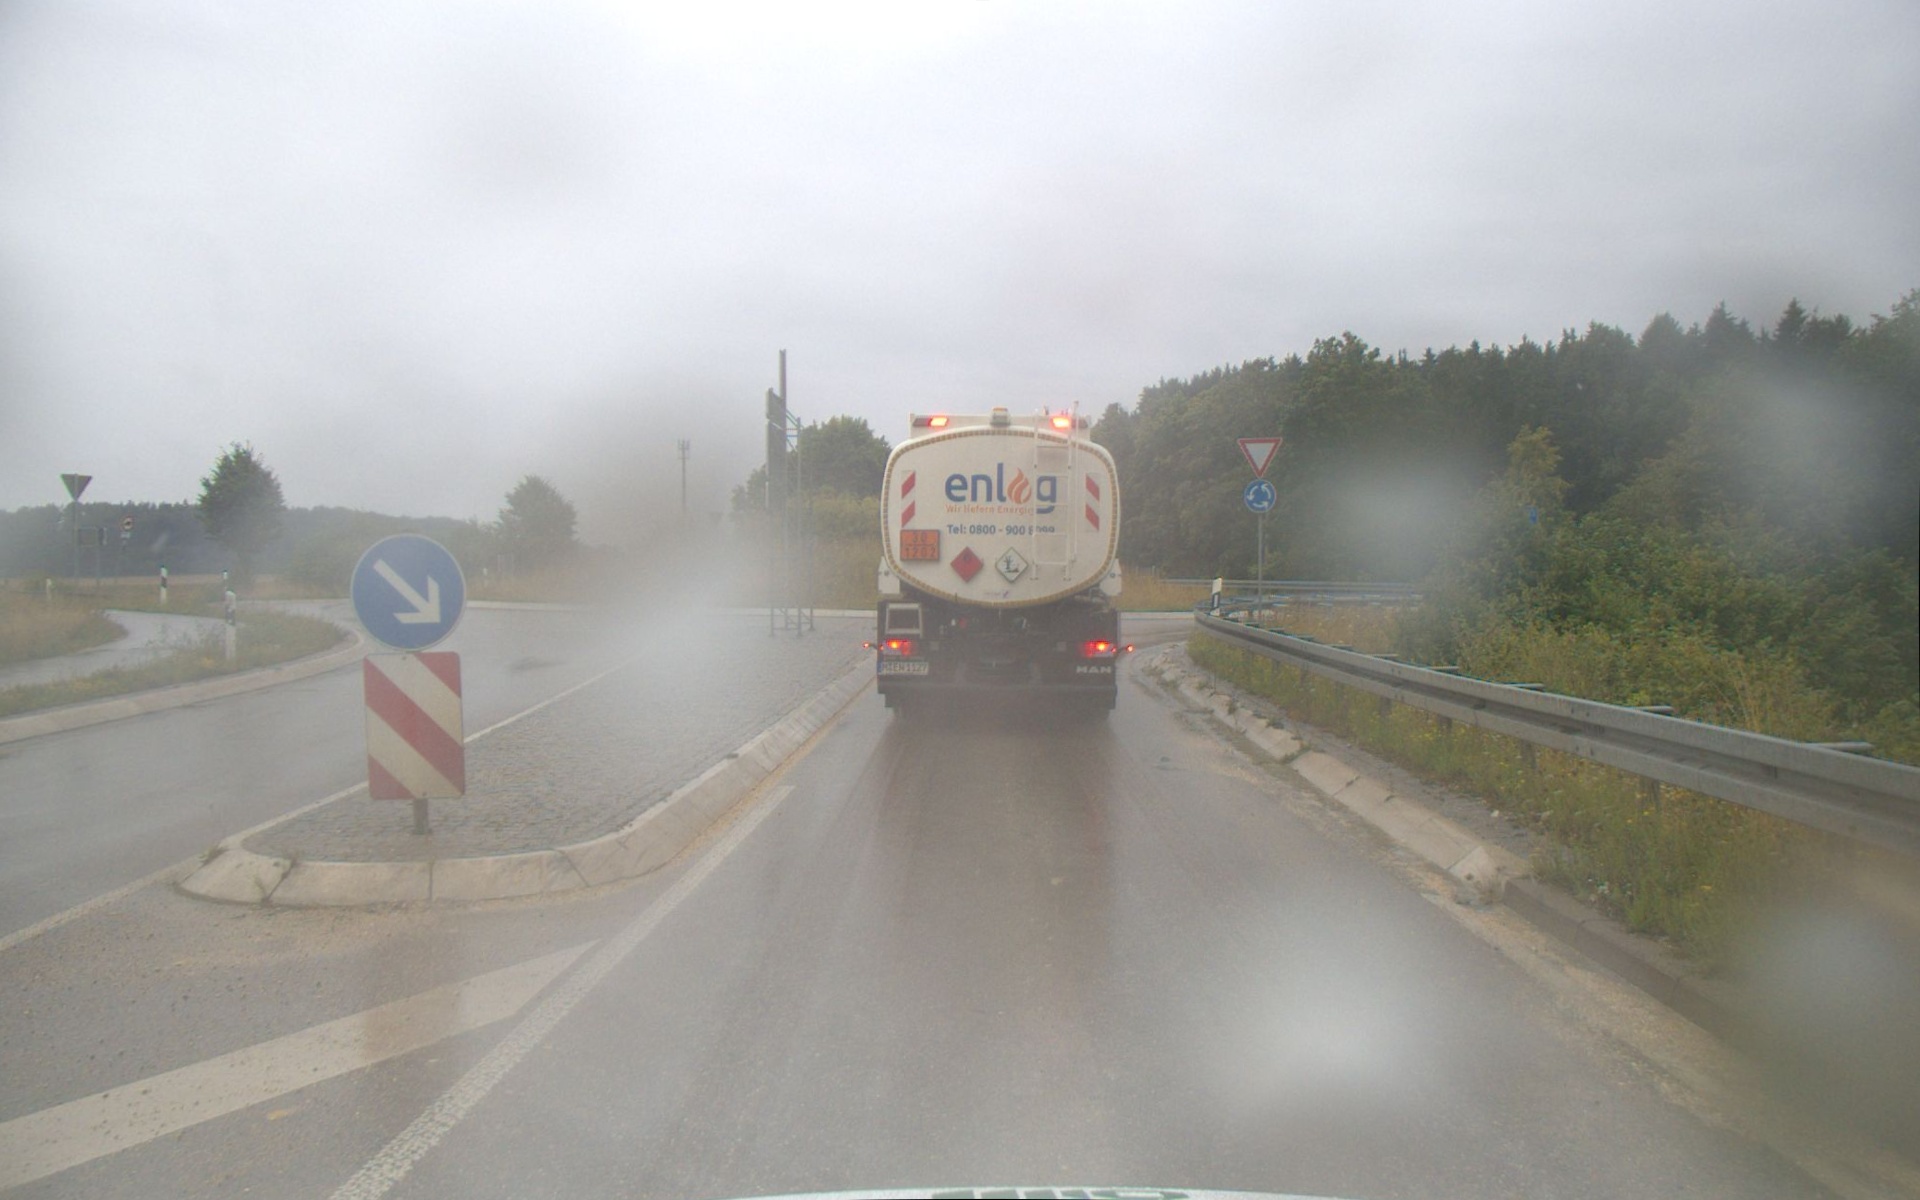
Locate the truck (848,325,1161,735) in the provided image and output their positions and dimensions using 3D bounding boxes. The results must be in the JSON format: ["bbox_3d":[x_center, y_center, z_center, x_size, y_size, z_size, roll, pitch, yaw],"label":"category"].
[{"bbox_3d":[0.659,-0.762,20.297,2.975,3.918,8.827,1,1,3],"label":"truck"}]
